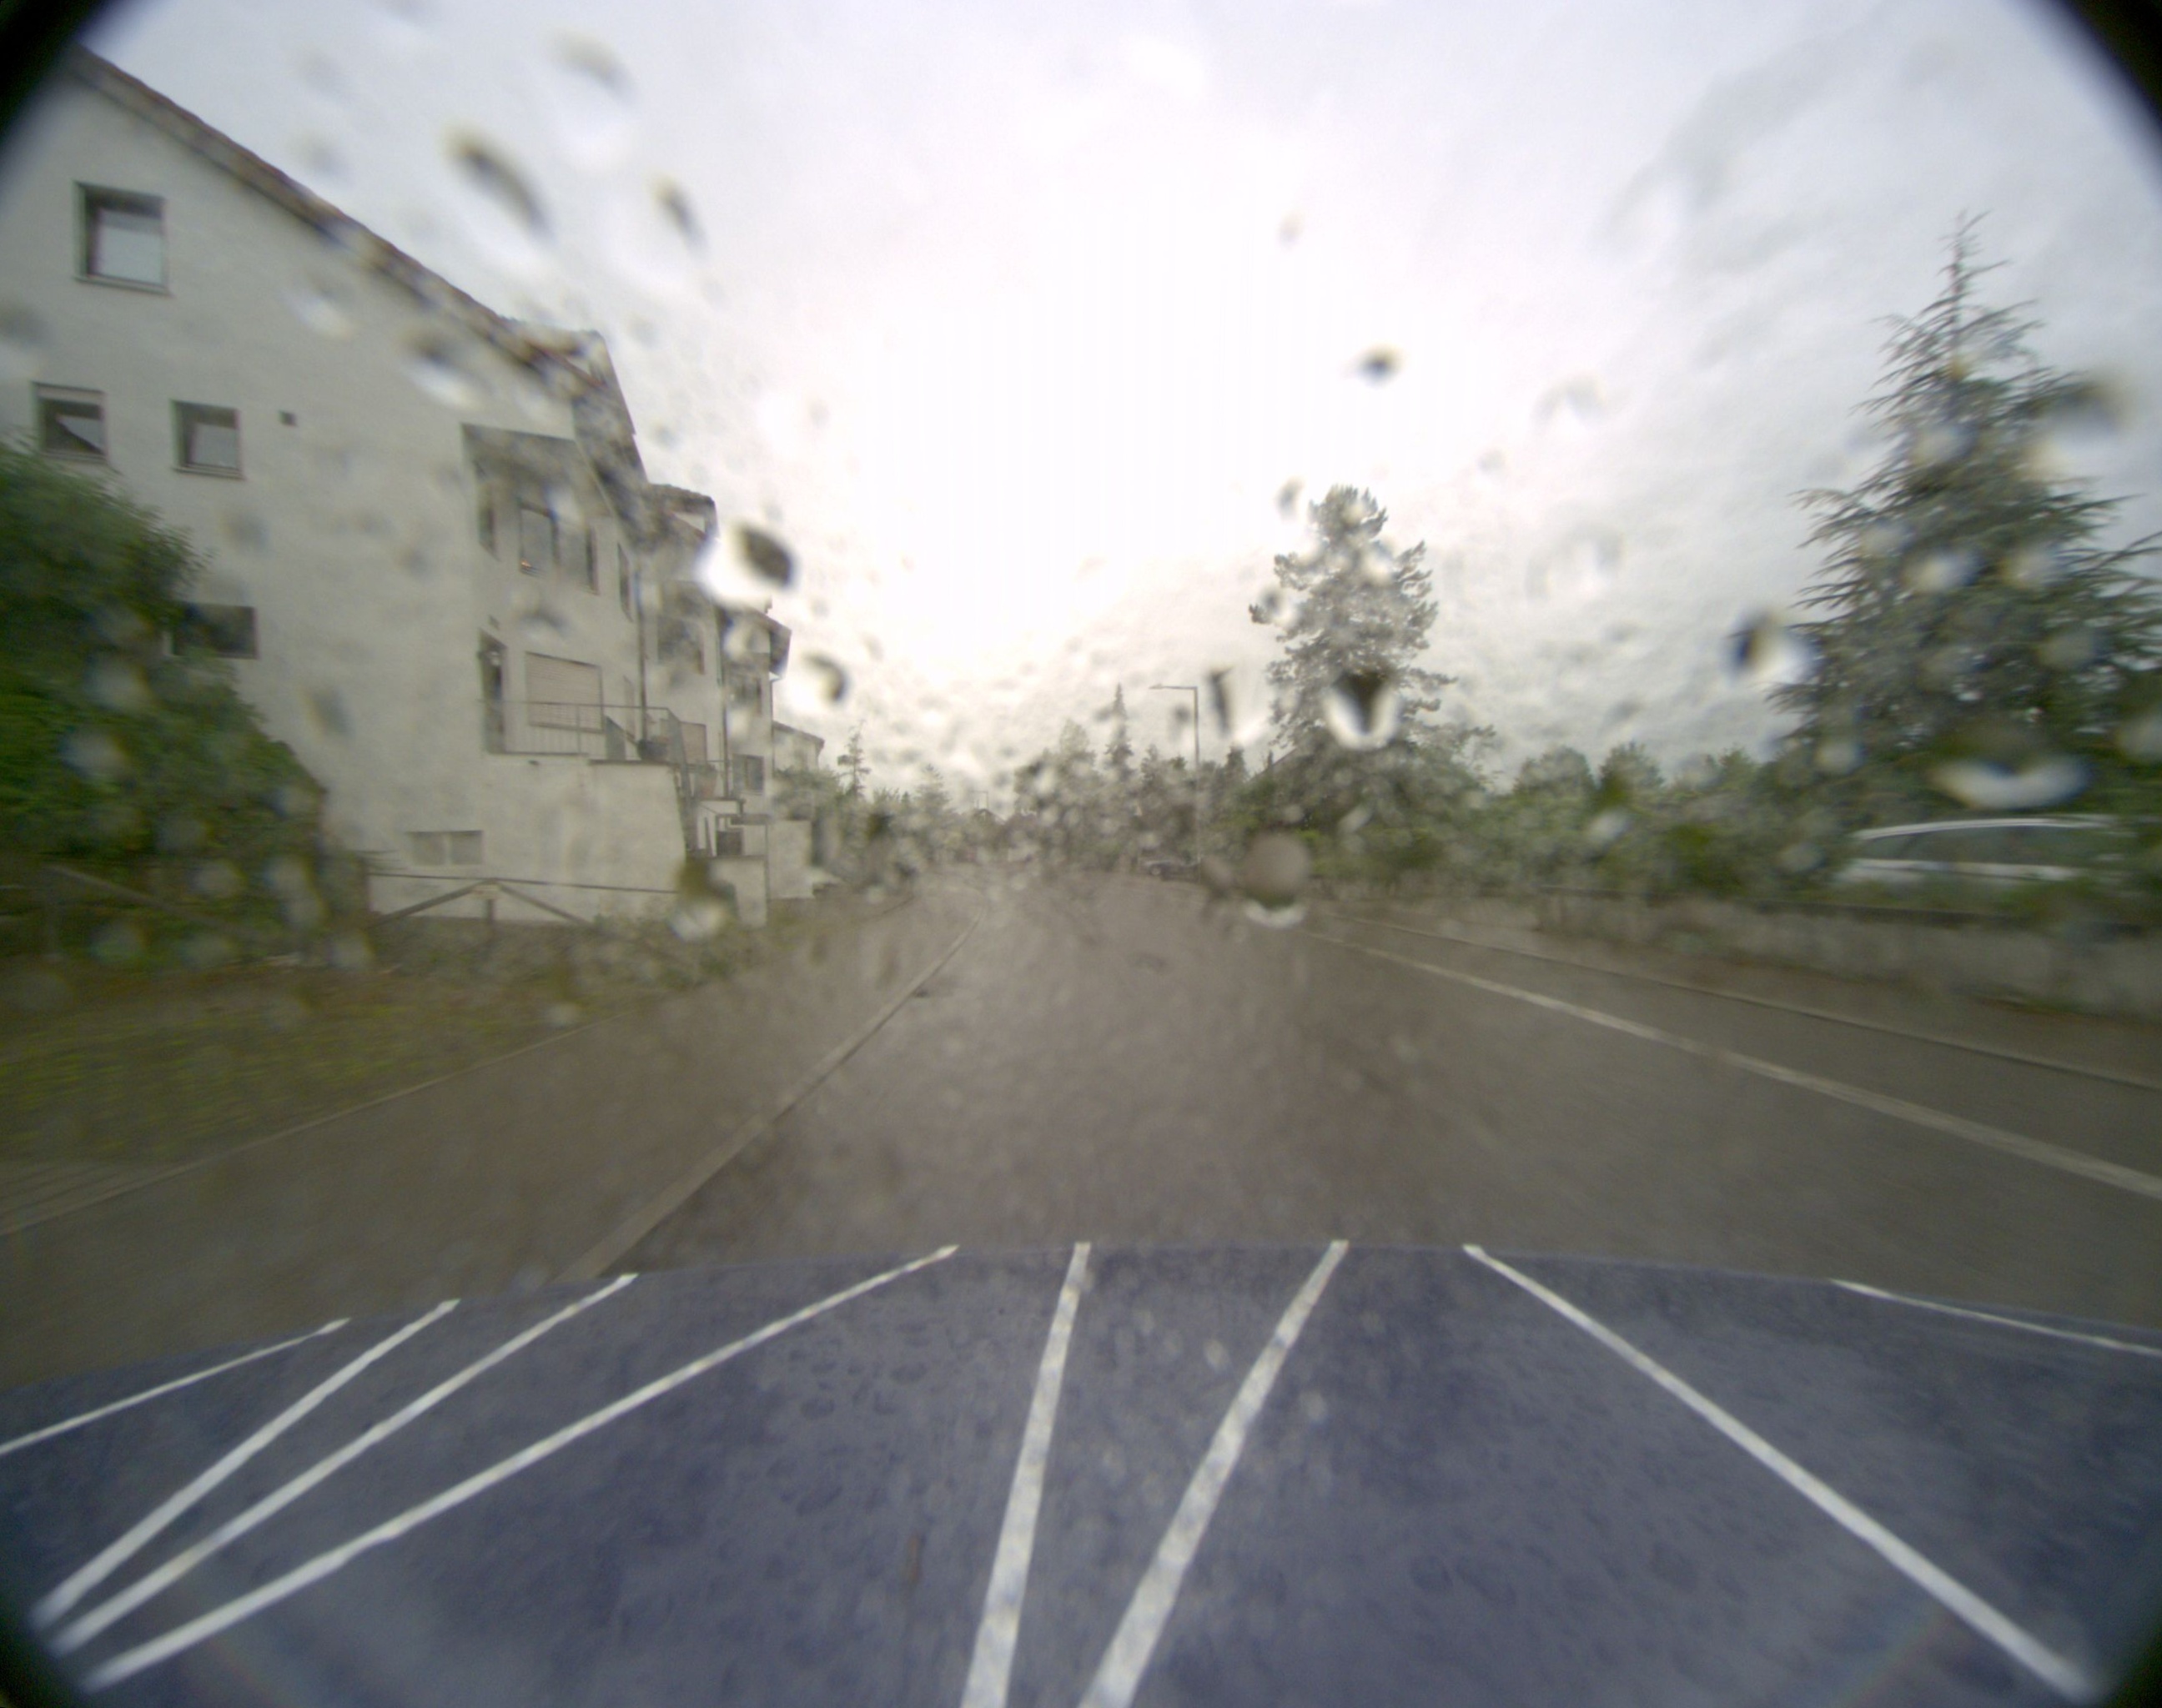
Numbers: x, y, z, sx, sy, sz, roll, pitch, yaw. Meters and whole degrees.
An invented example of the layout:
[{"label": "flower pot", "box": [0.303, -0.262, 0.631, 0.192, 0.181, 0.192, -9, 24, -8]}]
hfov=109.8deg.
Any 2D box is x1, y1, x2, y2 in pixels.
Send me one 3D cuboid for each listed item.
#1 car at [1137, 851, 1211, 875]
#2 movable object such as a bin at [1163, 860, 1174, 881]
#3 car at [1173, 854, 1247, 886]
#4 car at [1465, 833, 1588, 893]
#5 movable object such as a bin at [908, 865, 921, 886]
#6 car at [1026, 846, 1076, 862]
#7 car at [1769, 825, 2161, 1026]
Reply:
[{"label": "car", "box": [5.494, 0.504, 45.066, 3.999, 1.264, 1.872, -2, 1, -5]}, {"label": "movable object such as a bin", "box": [4.136, 0.758, 35.871, 0.371, 0.982, 0.558, -1, 1, -12]}, {"label": "car", "box": [5.890, 0.700, 35.362, 2.000, 1.300, 4.429, -1, 1, -10]}, {"label": "car", "box": [12.874, 0.225, 22.255, 1.996, 1.565, 4.004, -1, 0, 13]}, {"label": "movable object such as a bin", "box": [-7.469, 0.983, 34.099, 0.493, 0.917, 0.457, -1, 1, -9]}, {"label": "car", "box": [-2.952, -0.002, 75.814, 4.560, 1.467, 1.835, -3, 1, -24]}, {"label": "car", "box": [9.237, 0.518, 7.330, 1.738, 1.542, 4.000, -1, 1, 3]}]
